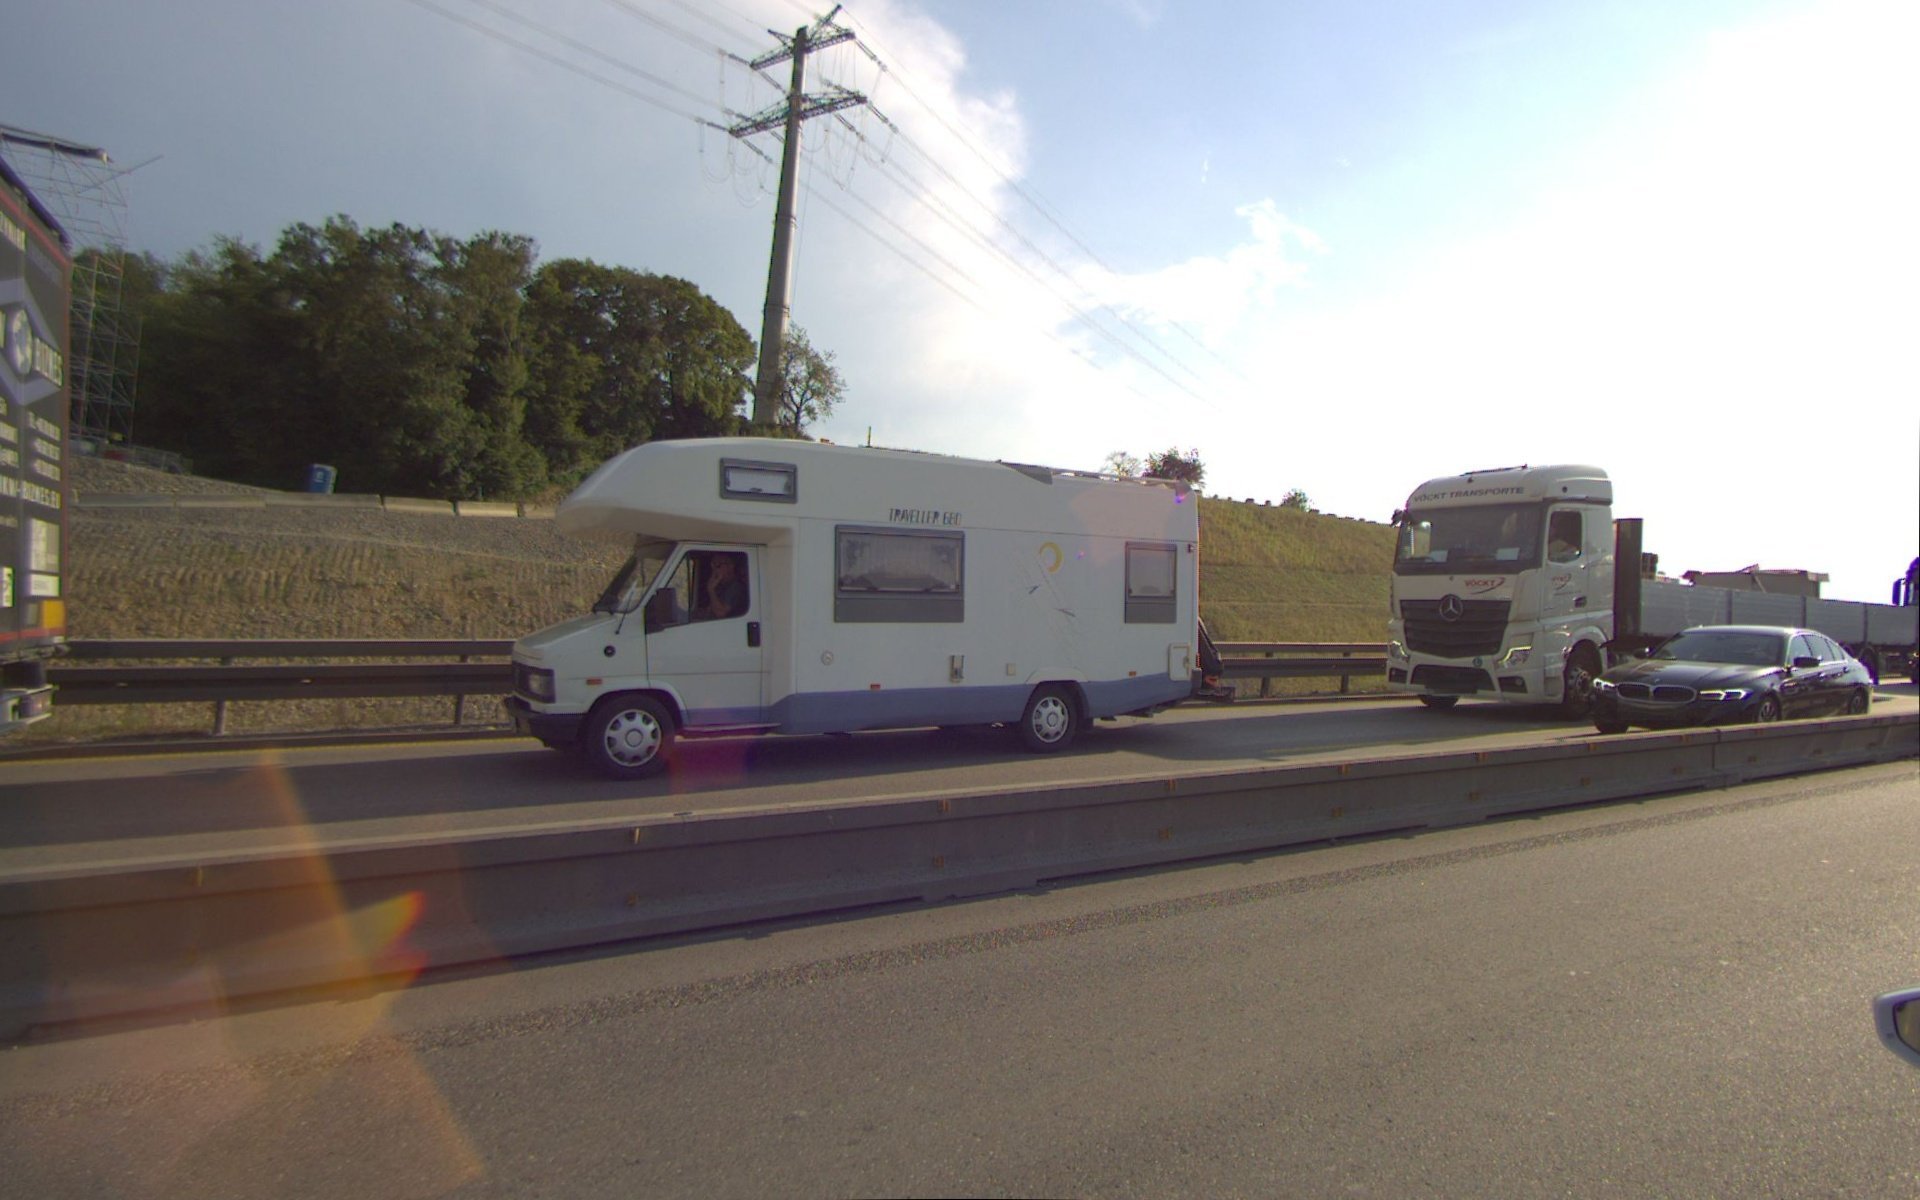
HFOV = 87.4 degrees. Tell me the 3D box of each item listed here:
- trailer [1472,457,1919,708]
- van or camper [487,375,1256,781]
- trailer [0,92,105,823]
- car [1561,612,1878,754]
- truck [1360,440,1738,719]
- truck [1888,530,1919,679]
[{"bbox_3d":[15.281,-0.070,19.959,13.828,3.774,2.505,2,0,-33],"label":"trailer"},{"bbox_3d":[-0.534,-0.055,10.269,7.533,2.930,2.395,2,0,-32],"label":"van or camper"},{"bbox_3d":[-9.760,-0.913,4.618,8.445,4.244,2.431,2,0,-31],"label":"trailer"},{"bbox_3d":[9.930,0.989,13.034,4.535,1.531,1.784,2,-1,-32],"label":"car"},{"bbox_3d":[9.761,-0.191,16.462,6.444,3.804,2.587,2,0,-32],"label":"truck"},{"bbox_3d":[29.254,0.215,28.845,5.604,4.119,2.489,2,0,-33],"label":"truck"}]
